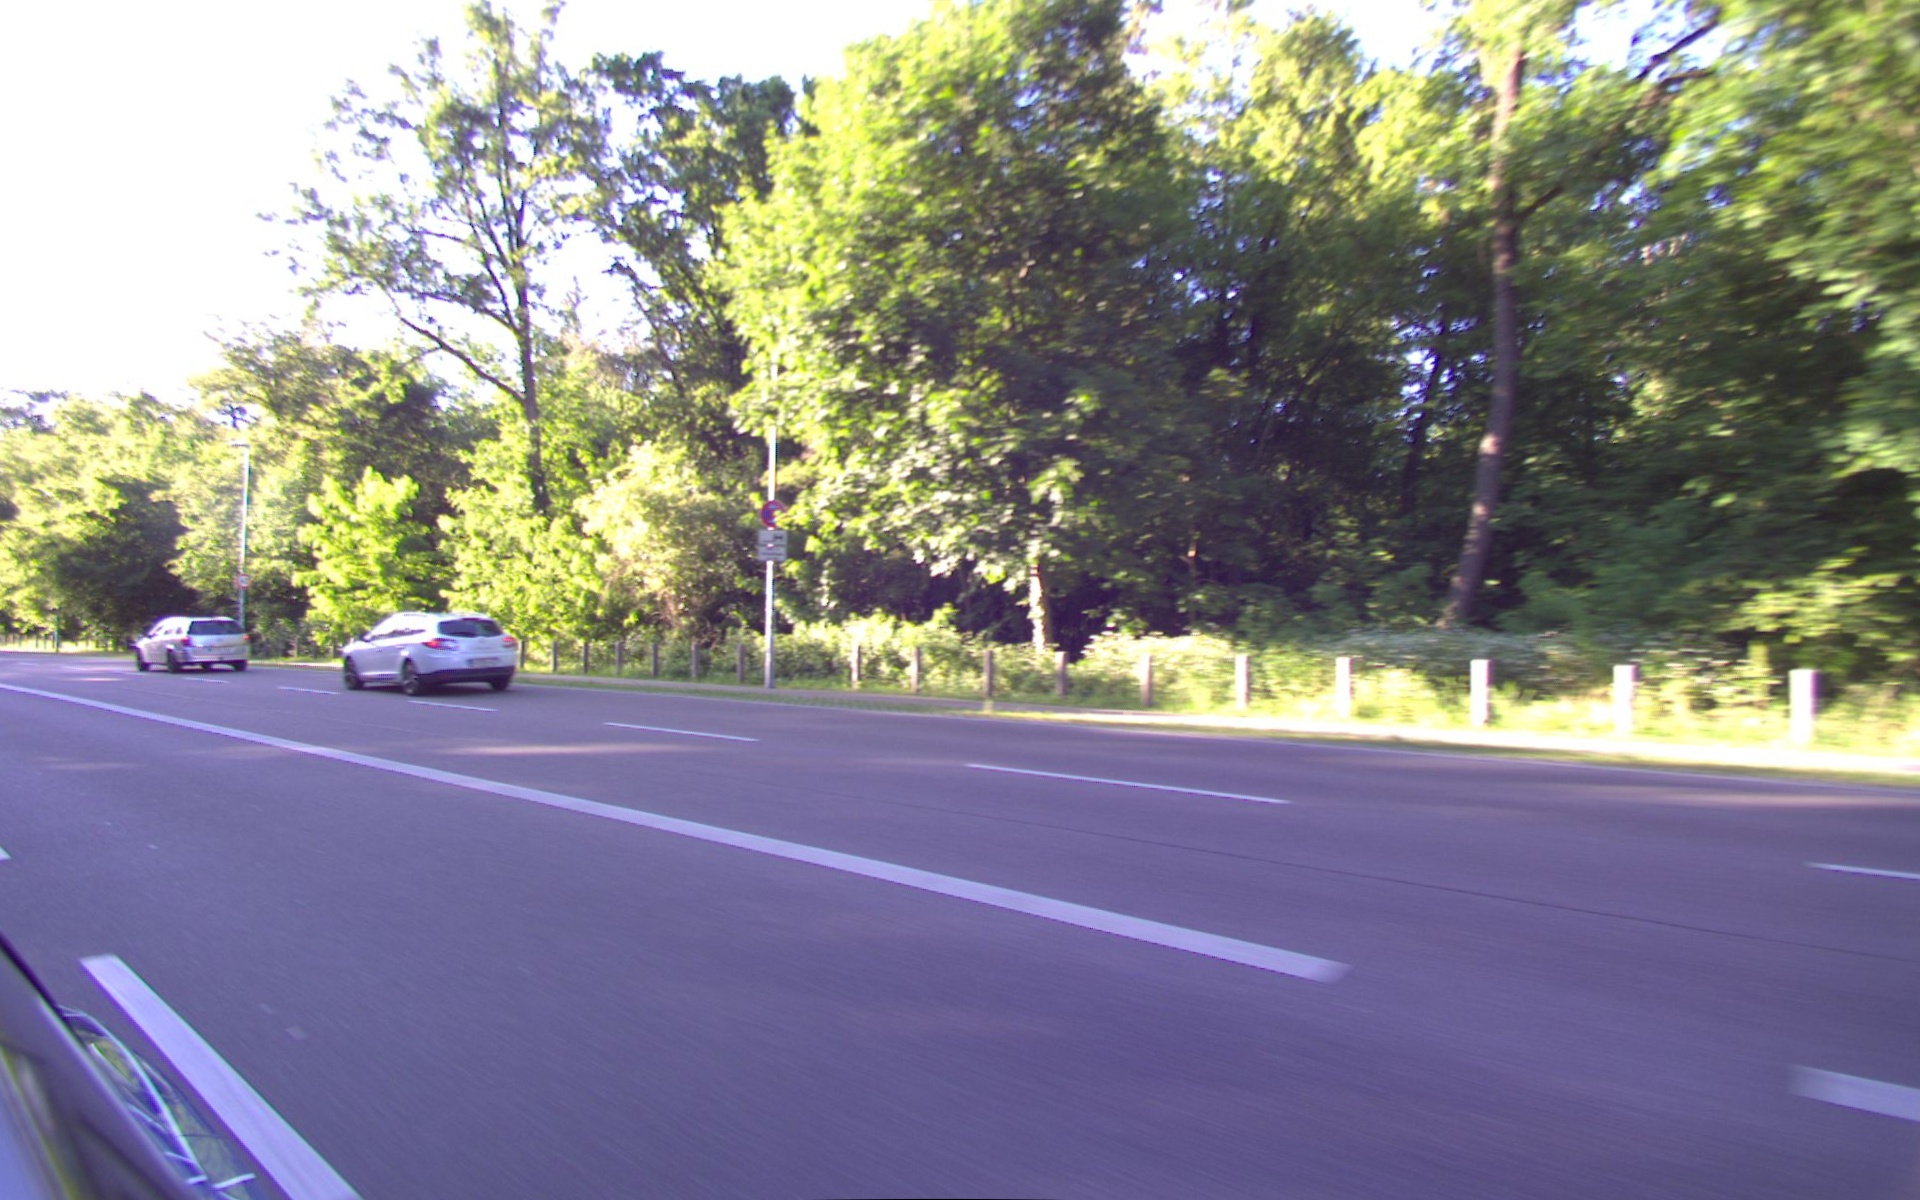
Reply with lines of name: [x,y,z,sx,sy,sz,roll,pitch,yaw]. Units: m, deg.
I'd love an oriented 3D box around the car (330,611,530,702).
car: [-10.092,1.025,19.144,4.392,1.534,1.765,-2,-2,39]

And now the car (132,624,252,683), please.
car: [-21.060,1.406,27.691,4.271,1.475,1.761,-1,-1,41]
